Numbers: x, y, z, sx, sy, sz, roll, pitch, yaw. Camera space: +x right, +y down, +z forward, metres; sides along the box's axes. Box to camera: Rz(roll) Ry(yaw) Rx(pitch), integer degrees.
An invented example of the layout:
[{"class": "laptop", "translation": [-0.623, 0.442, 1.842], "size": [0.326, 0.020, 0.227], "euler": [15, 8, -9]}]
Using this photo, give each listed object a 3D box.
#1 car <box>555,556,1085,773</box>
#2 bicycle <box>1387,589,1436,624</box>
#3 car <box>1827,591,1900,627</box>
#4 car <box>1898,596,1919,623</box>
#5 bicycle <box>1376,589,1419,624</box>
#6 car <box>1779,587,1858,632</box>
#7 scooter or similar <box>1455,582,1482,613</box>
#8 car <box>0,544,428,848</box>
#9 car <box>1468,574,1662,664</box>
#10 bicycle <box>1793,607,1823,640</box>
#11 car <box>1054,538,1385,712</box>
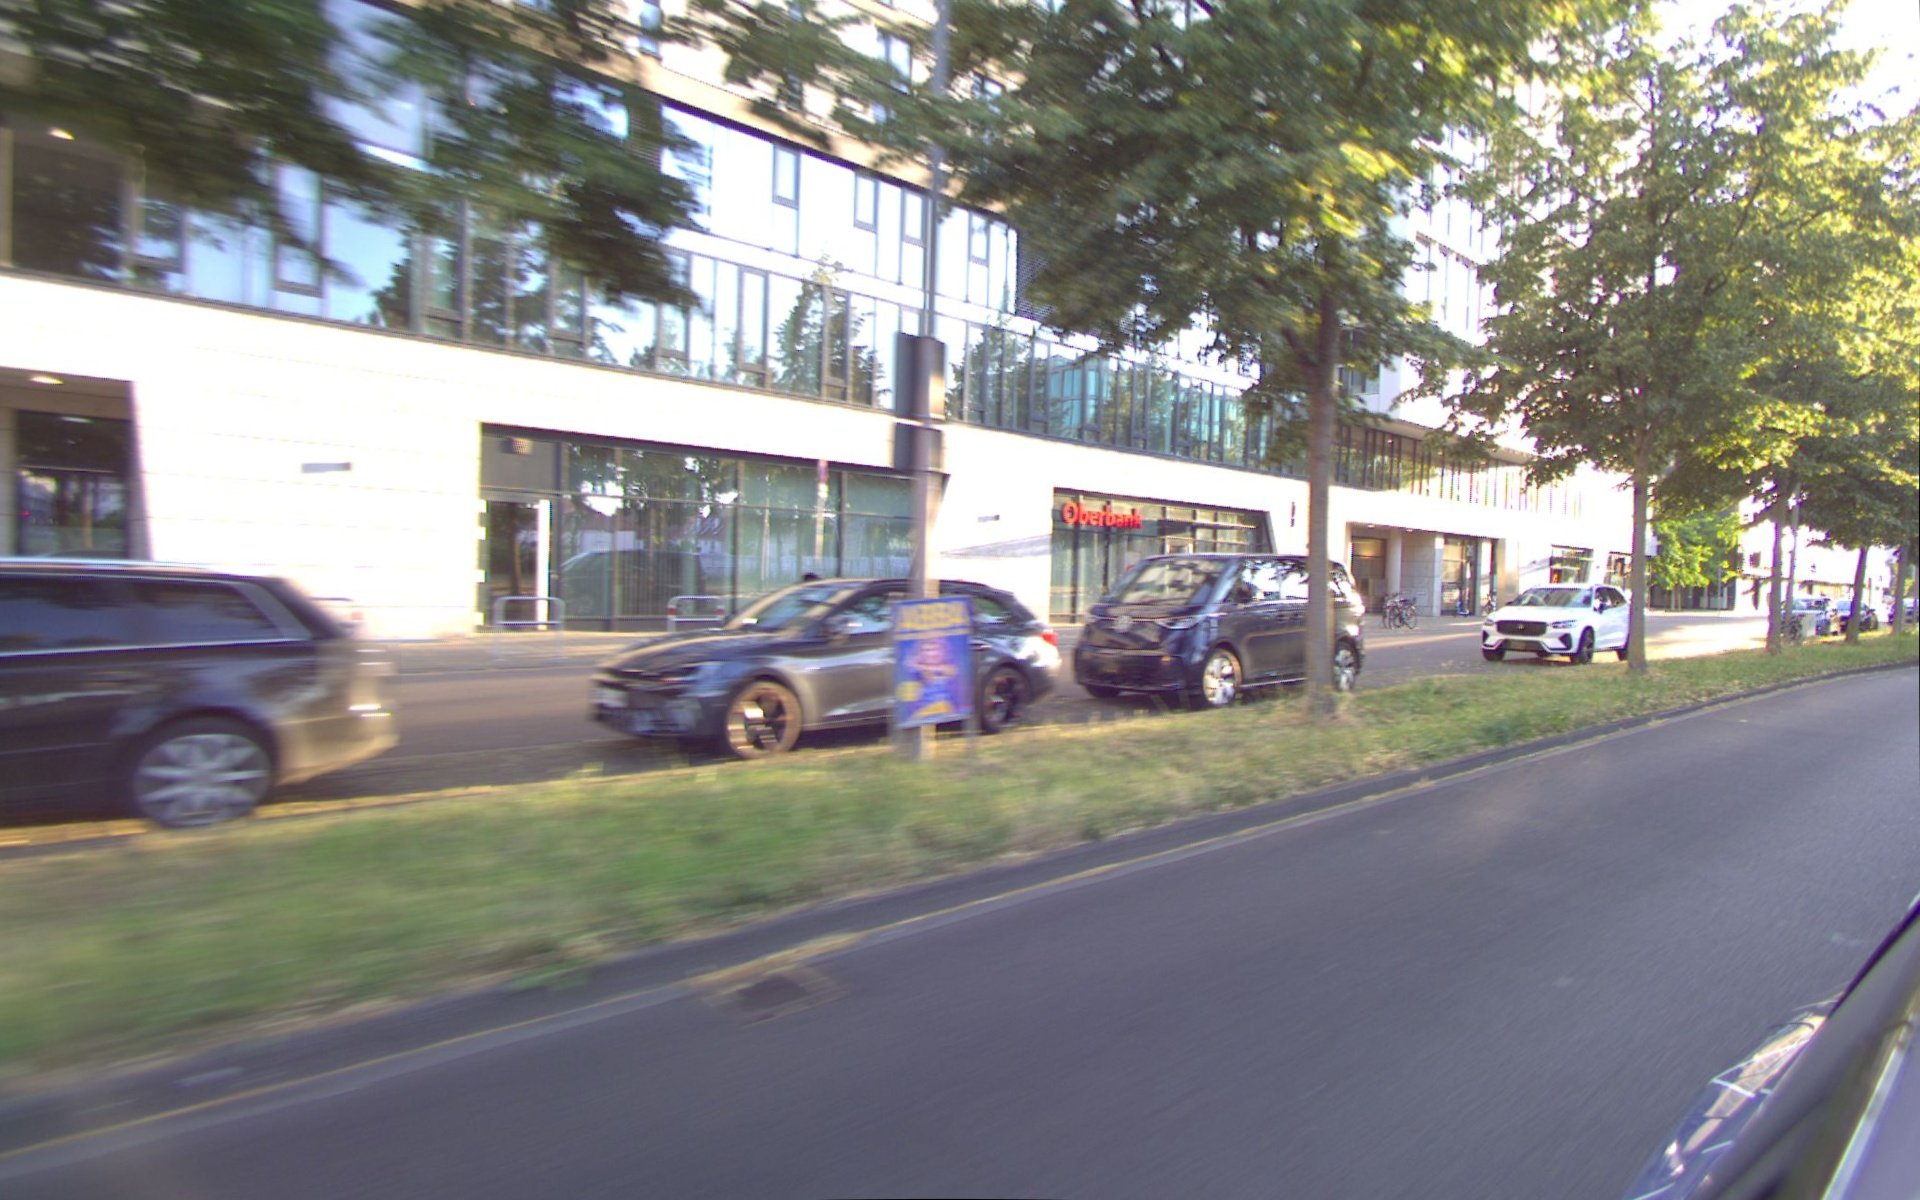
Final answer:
[{"class": "car", "translation": [-1.056, 0.415, 9.258], "size": [4.586, 1.489, 1.812], "euler": [0, 2, -43]}, {"class": "bicycle", "translation": [13.879, 0.190, 31.101], "size": [1.859, 1.052, 0.596], "euler": [0, 2, -40]}, {"class": "car", "translation": [38.563, 0.342, 43.159], "size": [4.752, 1.384, 1.855], "euler": [0, 2, -43]}, {"class": "car", "translation": [53.890, 0.527, 56.476], "size": [3.929, 1.513, 1.783], "euler": [1, -1, -41]}, {"class": "bicycle", "translation": [13.721, 0.185, 31.713], "size": [1.774, 1.052, 0.471], "euler": [0, 2, -40]}, {"class": "car", "translation": [31.441, 0.331, 37.049], "size": [3.694, 1.534, 1.712], "euler": [0, 0, -42]}, {"class": "scooter or similar", "translation": [20.529, -0.106, 40.834], "size": [1.207, 1.226, 0.473], "euler": [0, 2, -40]}, {"class": "car", "translation": [-5.461, 0.416, 5.181], "size": [4.563, 1.428, 1.873], "euler": [0, 2, -40]}, {"class": "car", "translation": [12.809, 0.336, 21.303], "size": [4.791, 1.662, 1.998], "euler": [0, 2, -40]}, {"class": "bicycle", "translation": [22.193, 0.599, 26.471], "size": [1.524, 0.833, 0.316], "euler": [0, 2, -40]}, {"class": "car", "translation": [3.522, 0.224, 13.218], "size": [4.586, 1.875, 1.996], "euler": [0, 2, -43]}]
